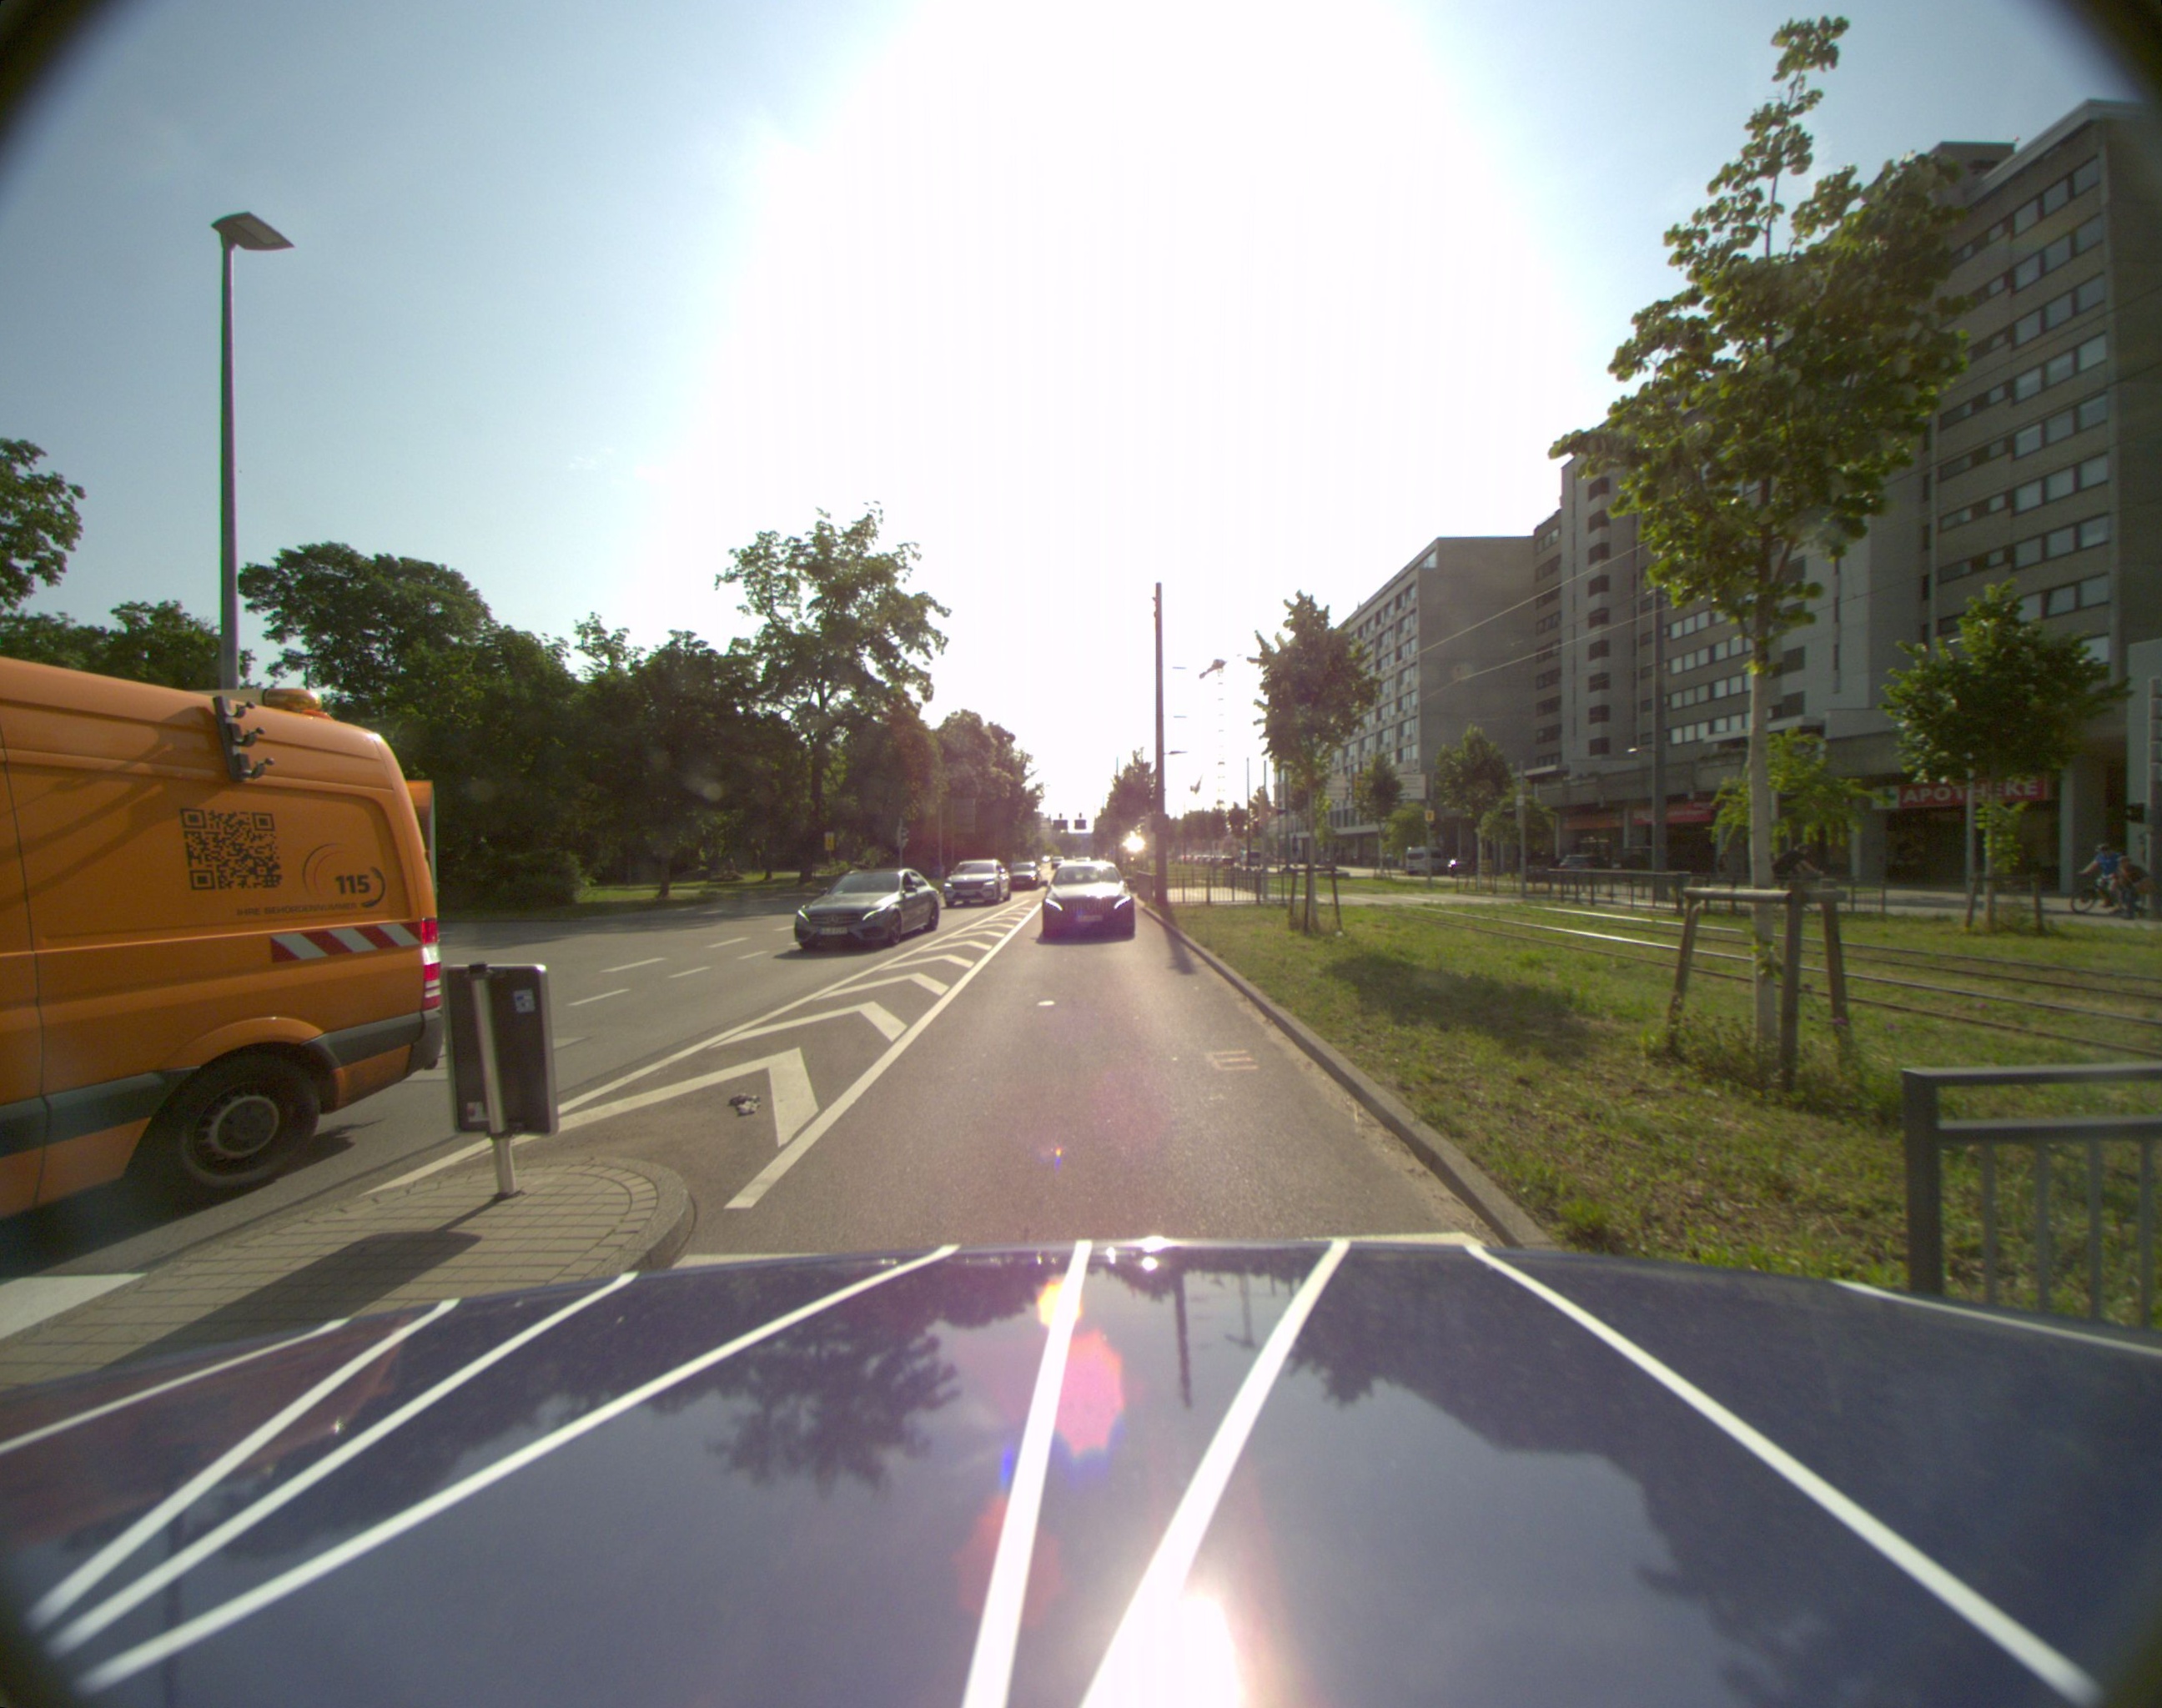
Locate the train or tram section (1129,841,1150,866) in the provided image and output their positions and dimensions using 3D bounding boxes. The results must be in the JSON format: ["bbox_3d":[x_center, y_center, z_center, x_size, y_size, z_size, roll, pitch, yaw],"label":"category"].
[{"bbox_3d":[8.045,-0.070,104.325,2.500,3.409,6.669,0,0,1],"label":"train or tram section"}]

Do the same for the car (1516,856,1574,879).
[{"bbox_3d":[29.309,0.852,47.944,4.119,1.237,1.874,-3,1,-39],"label":"car"}]

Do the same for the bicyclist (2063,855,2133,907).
[{"bbox_3d":[28.838,0.754,21.555,1.023,1.432,0.686,0,1,6],"label":"bicyclist"}]

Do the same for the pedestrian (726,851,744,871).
[{"bbox_3d":[-31.778,0.633,69.739,0.983,1.820,1.072,0,1,30],"label":"pedestrian"}]

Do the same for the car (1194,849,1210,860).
[{"bbox_3d":[17.686,0.079,110.881,1.812,1.565,4.000,-1,0,3],"label":"car"}]

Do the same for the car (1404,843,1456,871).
[{"bbox_3d":[29.602,0.203,64.304,5.419,2.295,1.879,-1,1,-40],"label":"car"}]

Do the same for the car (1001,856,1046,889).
[{"bbox_3d":[-2.974,0.922,39.884,1.998,1.630,4.000,-1,0,0],"label":"car"}]

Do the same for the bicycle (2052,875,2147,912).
[{"bbox_3d":[28.860,1.110,21.552,1.665,0.985,0.685,-1,1,4],"label":"bicycle"}]

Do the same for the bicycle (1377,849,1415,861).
[{"bbox_3d":[36.831,0.091,88.973,3.994,1.358,1.127,0,1,9],"label":"bicycle"}]

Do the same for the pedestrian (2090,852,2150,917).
[{"bbox_3d":[27.277,0.797,19.962,0.660,1.680,0.645,0,1,3],"label":"pedestrian"}]

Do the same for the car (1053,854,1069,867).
[{"bbox_3d":[-2.455,0.784,93.687,1.905,1.584,4.000,-1,0,0],"label":"car"}]

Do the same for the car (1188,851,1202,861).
[{"bbox_3d":[17.784,0.331,118.707,1.812,1.466,4.000,-1,0,3],"label":"car"}]

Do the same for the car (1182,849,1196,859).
[{"bbox_3d":[17.809,-0.021,125.587,1.787,1.516,4.000,-1,0,1],"label":"car"}]

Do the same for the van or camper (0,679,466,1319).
[{"bbox_3d":[-5.187,0.584,1.991,1.991,2.457,6.062,-2,0,2],"label":"van or camper"}]

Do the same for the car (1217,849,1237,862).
[{"bbox_3d":[17.522,0.190,91.110,1.812,1.472,4.000,-1,0,3],"label":"car"}]

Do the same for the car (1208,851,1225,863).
[{"bbox_3d":[17.606,0.398,99.022,1.745,1.478,3.642,-1,0,3],"label":"car"}]

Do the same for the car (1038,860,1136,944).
[{"bbox_3d":[0.139,0.910,16.385,1.760,1.437,4.617,-2,0,1],"label":"car"}]

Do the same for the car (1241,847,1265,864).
[{"bbox_3d":[23.686,0.161,104.709,2.051,2.225,5.334,-1,0,-1],"label":"car"}]

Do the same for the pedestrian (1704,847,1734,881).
[{"bbox_3d":[32.411,0.502,38.600,0.744,1.686,1.115,-1,1,-43],"label":"pedestrian"}]

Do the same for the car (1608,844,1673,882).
[{"bbox_3d":[30.145,0.453,40.901,4.119,1.957,1.874,-1,1,-39],"label":"car"}]

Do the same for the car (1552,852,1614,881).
[{"bbox_3d":[29.329,0.686,44.361,4.119,1.597,1.874,-1,1,-39],"label":"car"}]

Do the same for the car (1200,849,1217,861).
[{"bbox_3d":[17.710,0.139,105.403,1.812,1.565,4.000,-1,0,3],"label":"car"}]

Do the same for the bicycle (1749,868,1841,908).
[{"bbox_3d":[18.203,0.845,19.403,1.609,0.929,0.558,2,0,21],"label":"bicycle"}]

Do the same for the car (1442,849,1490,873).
[{"bbox_3d":[29.143,0.508,57.517,2.097,1.573,4.008,-3,0,44],"label":"car"}]

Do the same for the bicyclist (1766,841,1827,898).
[{"bbox_3d":[18.246,0.392,19.397,0.971,1.387,0.547,2,0,20],"label":"bicyclist"}]

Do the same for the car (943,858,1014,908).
[{"bbox_3d":[-3.628,0.995,27.582,1.897,1.561,4.250,-2,0,1],"label":"car"}]
